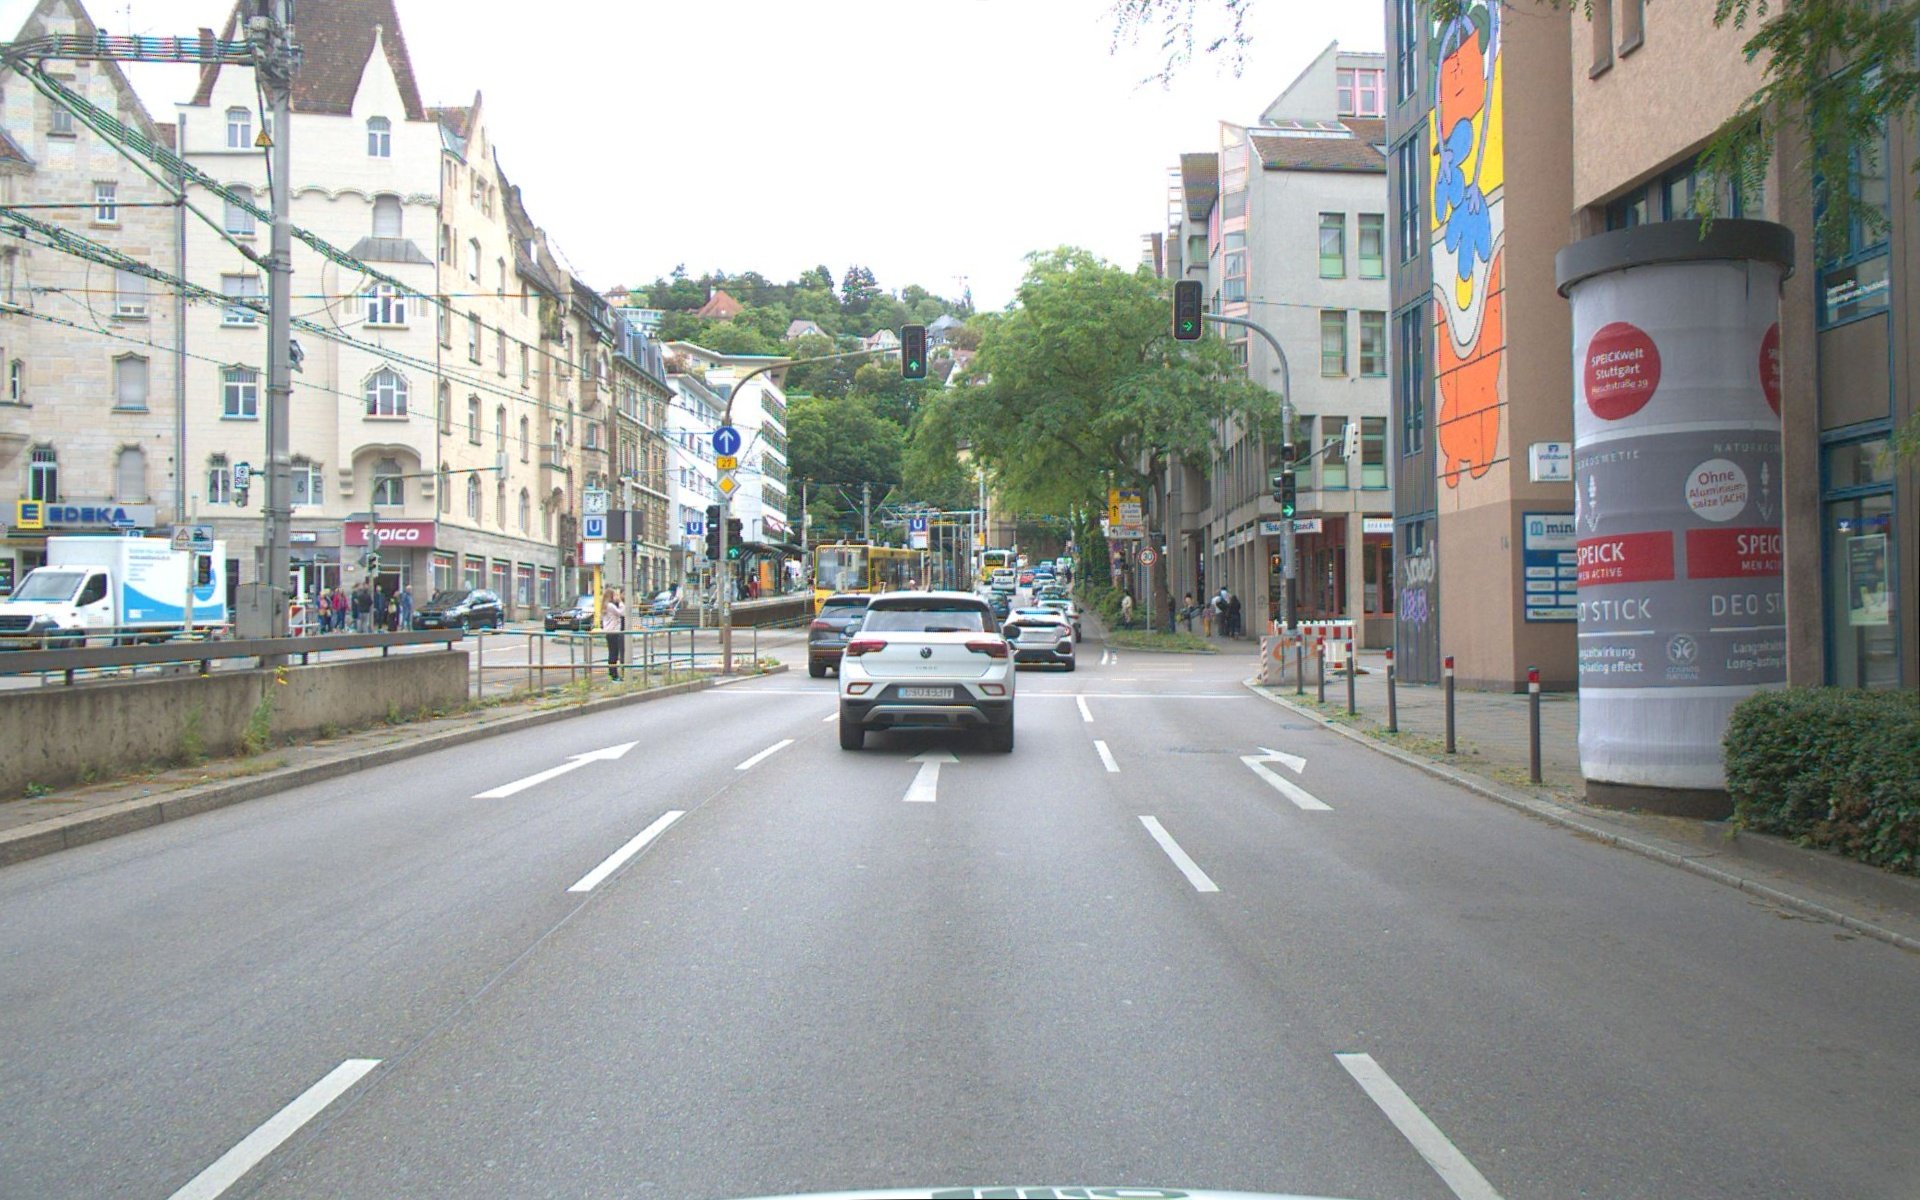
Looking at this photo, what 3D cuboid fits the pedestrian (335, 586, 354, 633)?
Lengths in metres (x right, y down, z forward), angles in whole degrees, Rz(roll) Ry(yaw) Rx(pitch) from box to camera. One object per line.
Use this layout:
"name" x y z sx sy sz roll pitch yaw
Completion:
"pedestrian" -23.635 0.372 63.505 0.499 1.811 0.577 0 0 5

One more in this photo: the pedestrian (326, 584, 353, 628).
"pedestrian" -24.350 0.232 64.898 0.765 1.735 0.654 0 0 8

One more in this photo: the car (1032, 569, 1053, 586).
"car" 8.810 -2.418 176.413 1.844 1.713 4.165 1 0 9

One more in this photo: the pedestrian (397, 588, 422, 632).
"pedestrian" -21.578 0.400 64.843 0.659 1.706 0.691 0 0 20

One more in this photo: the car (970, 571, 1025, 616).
"car" 1.856 -0.312 79.693 2.315 2.049 5.151 1 0 5

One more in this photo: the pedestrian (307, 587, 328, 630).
"pedestrian" -23.841 0.319 61.338 0.563 1.610 0.512 0 0 3

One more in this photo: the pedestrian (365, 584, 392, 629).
"pedestrian" -22.571 0.242 64.200 0.765 1.735 0.724 0 0 8

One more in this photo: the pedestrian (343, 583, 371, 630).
"pedestrian" -23.422 0.237 64.242 0.774 1.811 0.666 0 0 34

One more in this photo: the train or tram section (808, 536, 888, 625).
"train or tram section" -4.870 -0.870 73.009 2.776 3.743 5.754 1 1 3

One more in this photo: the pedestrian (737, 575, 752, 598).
"pedestrian" -10.755 -0.683 82.445 0.622 1.127 0.690 0 1 2

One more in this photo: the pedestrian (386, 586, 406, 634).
"pedestrian" -21.518 0.368 63.128 0.499 1.811 0.577 0 0 17

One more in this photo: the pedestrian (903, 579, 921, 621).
"pedestrian" -1.971 0.002 68.028 0.671 1.741 0.712 0 1 2

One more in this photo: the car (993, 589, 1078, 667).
"car" 1.820 0.619 38.776 1.845 1.713 4.163 1 0 4

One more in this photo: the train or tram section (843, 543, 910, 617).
"train or tram section" -4.228 -1.028 84.518 2.776 3.582 5.754 1 1 3

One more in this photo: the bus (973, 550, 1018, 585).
"bus" 3.652 -3.198 166.041 3.300 3.118 13.334 1 0 6

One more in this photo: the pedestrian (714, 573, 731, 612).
"pedestrian" -10.821 -0.352 75.447 0.673 1.741 0.662 0 1 2

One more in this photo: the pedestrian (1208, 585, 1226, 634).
"pedestrian" 9.538 0.356 61.337 0.508 1.820 0.764 1 0 -1

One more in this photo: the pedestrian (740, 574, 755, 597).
"pedestrian" -10.781 -0.730 84.010 0.622 1.127 0.690 0 1 2

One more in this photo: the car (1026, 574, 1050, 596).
"car" 6.130 -1.151 129.340 1.845 1.713 4.163 1 0 3

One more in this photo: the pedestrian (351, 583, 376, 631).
"pedestrian" -22.495 0.271 62.376 0.694 1.811 0.596 0 0 19

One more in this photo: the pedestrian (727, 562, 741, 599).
"pedestrian" -10.867 -0.934 79.454 0.623 1.741 0.689 0 1 -6

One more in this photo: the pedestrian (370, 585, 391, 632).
"pedestrian" -22.491 0.314 64.214 0.501 1.811 0.575 0 0 33

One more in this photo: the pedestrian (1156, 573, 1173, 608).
"pedestrian" 10.870 -0.522 87.906 0.747 1.813 0.848 -2 3 -2

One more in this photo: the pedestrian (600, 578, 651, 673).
"pedestrian" -6.253 0.474 30.975 0.775 1.751 0.773 0 0 2

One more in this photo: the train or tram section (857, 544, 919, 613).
"train or tram section" -3.878 -1.190 90.292 2.776 3.582 5.754 1 1 3

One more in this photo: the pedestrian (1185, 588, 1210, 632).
"pedestrian" 8.830 0.370 61.525 0.819 1.590 0.764 1 0 -1

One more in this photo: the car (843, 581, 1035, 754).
"car" -0.328 0.637 17.708 1.801 1.611 4.153 1 0 -4

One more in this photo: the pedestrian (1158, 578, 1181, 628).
"pedestrian" 7.976 0.127 63.059 0.706 1.834 0.834 -2 3 -1

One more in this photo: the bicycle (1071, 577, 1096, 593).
"bicycle" 9.240 -1.118 123.704 1.841 1.157 0.809 1 0 9

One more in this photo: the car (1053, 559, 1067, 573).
"car" 11.689 -3.965 193.720 1.638 1.588 3.680 1 0 3

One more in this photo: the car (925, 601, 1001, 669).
"car" 0.128 0.979 47.911 1.871 1.718 4.003 1 2 5

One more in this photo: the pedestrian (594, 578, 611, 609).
"pedestrian" -20.352 -0.370 94.092 0.623 1.793 0.834 0 0 -40

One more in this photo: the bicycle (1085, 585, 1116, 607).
"bicycle" 7.665 -0.212 90.267 1.586 1.147 0.614 -2 1 6

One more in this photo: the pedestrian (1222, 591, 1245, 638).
"pedestrian" 9.850 0.516 59.537 0.746 1.640 0.619 -1 3 14

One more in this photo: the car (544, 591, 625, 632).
"car" -14.836 0.434 65.587 1.621 1.579 4.539 0 0 8

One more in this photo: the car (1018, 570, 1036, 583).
"car" 6.340 -2.204 156.625 1.548 1.193 3.681 1 0 5

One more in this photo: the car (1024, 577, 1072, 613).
"car" 5.118 -0.291 96.551 2.317 2.049 5.146 1 0 -2

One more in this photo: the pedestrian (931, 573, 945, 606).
"pedestrian" -1.171 -0.578 88.837 0.702 1.761 0.671 1 0 4

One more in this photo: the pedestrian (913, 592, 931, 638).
"pedestrian" -1.464 0.577 63.542 0.622 1.741 0.872 0 1 3

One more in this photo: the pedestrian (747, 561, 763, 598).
"pedestrian" -9.976 -1.000 80.416 0.613 1.793 0.847 0 0 4

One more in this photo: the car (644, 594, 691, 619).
"car" -16.593 0.351 93.874 1.597 1.399 3.786 0 0 7

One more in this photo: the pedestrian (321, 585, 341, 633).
"pedestrian" -23.904 0.345 62.884 0.499 1.811 0.577 0 0 9

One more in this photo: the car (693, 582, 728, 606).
"car" -16.727 -0.422 111.015 1.526 1.550 3.602 1 0 4

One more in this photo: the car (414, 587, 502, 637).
"car" -19.066 0.430 62.986 1.638 1.790 4.784 1 0 3

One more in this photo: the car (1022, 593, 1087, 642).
"car" 3.436 0.609 60.745 1.847 1.713 4.158 1 0 -4

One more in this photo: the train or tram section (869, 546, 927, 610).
"train or tram section" -3.551 -1.288 96.045 2.776 3.582 5.754 1 1 3

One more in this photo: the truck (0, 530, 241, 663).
"truck" -22.003 -0.085 43.029 2.218 3.130 7.380 1 0 11

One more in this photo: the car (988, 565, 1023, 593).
"car" 3.608 -1.618 130.000 2.314 2.049 5.151 1 0 6

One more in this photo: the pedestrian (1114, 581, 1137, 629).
"pedestrian" 6.455 0.188 64.386 0.679 1.808 0.689 -4 0 -1

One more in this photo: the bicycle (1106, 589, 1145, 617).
"bicycle" 7.516 0.136 74.955 1.674 1.204 0.448 -2 1 -5

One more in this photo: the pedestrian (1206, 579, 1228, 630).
"pedestrian" 9.659 0.165 62.125 0.719 1.907 0.733 0 0 -1

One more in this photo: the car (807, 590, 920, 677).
"car" -1.919 0.665 34.041 1.952 1.664 4.001 0 -1 2

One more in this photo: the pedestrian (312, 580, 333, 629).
"pedestrian" -23.767 0.170 61.681 0.563 1.811 0.512 0 0 8

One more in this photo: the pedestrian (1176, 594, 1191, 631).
"pedestrian" 8.402 0.463 62.128 0.461 1.357 0.519 1 0 -1

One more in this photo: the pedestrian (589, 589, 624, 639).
"pedestrian" -12.202 0.478 57.065 0.859 1.735 0.810 0 0 32

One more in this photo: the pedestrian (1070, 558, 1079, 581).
"pedestrian" 10.414 -2.764 150.407 0.746 2.049 0.839 1 0 8

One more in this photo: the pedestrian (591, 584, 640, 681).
"pedestrian" -6.289 0.591 30.202 0.748 1.751 0.638 0 0 2

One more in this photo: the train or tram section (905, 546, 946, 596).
"train or tram section" -2.667 -2.241 129.106 2.755 3.730 6.753 1 1 2

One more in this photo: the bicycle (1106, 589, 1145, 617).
"bicycle" 7.538 0.128 75.429 1.674 1.204 0.448 -2 1 -5

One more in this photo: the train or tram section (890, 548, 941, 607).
"train or tram section" -2.876 -1.470 108.203 2.754 3.730 6.755 1 1 3
